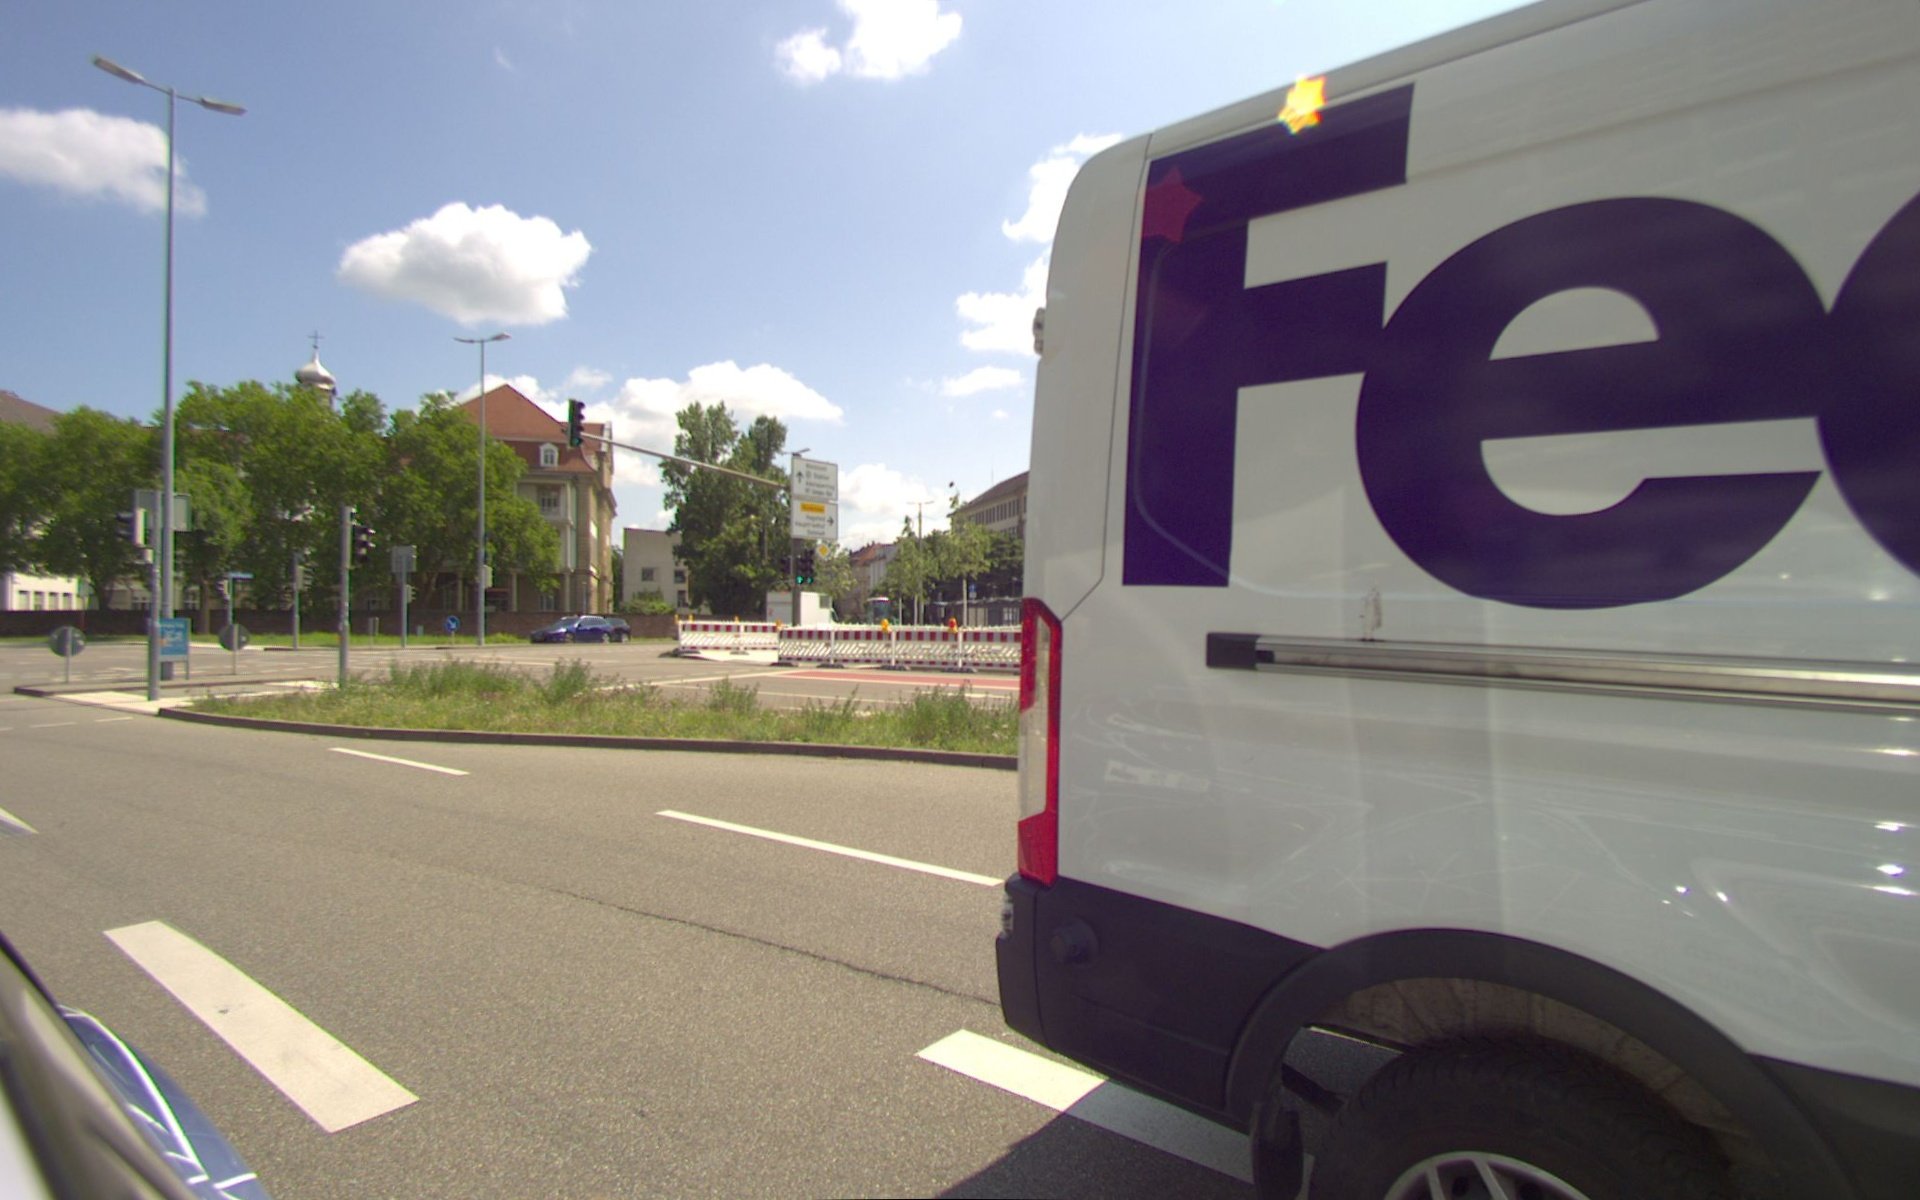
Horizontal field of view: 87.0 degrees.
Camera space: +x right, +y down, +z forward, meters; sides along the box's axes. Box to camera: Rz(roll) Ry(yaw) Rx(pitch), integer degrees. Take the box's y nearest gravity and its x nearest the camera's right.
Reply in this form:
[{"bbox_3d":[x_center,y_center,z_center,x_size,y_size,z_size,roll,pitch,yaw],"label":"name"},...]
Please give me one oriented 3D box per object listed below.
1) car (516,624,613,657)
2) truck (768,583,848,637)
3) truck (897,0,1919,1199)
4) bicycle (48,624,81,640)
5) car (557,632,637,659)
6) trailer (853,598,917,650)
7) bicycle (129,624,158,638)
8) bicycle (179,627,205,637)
[{"bbox_3d":[-18.880,1.931,48.553,1.982,1.497,4.643,-1,-2,16],"label":"car"},{"bbox_3d":[-9.107,0.572,61.554,1.982,3.091,7.292,0,0,16],"label":"truck"},{"bbox_3d":[2.819,0.026,1.152,5.910,2.660,2.116,-1,-1,39],"label":"truck"},{"bbox_3d":[-65.951,2.369,74.512,2.009,1.146,0.398,0,-2,-3],"label":"bicycle"},{"bbox_3d":[-21.095,2.604,58.978,1.985,1.497,4.480,-1,-2,20],"label":"car"},{"bbox_3d":[-4.453,1.354,59.617,1.966,2.935,4.378,0,0,-32],"label":"trailer"},{"bbox_3d":[-60.354,2.285,74.810,1.661,1.038,0.398,0,-2,-5],"label":"bicycle"},{"bbox_3d":[-57.023,2.377,75.161,1.520,0.795,0.398,0,-2,-5],"label":"bicycle"}]
